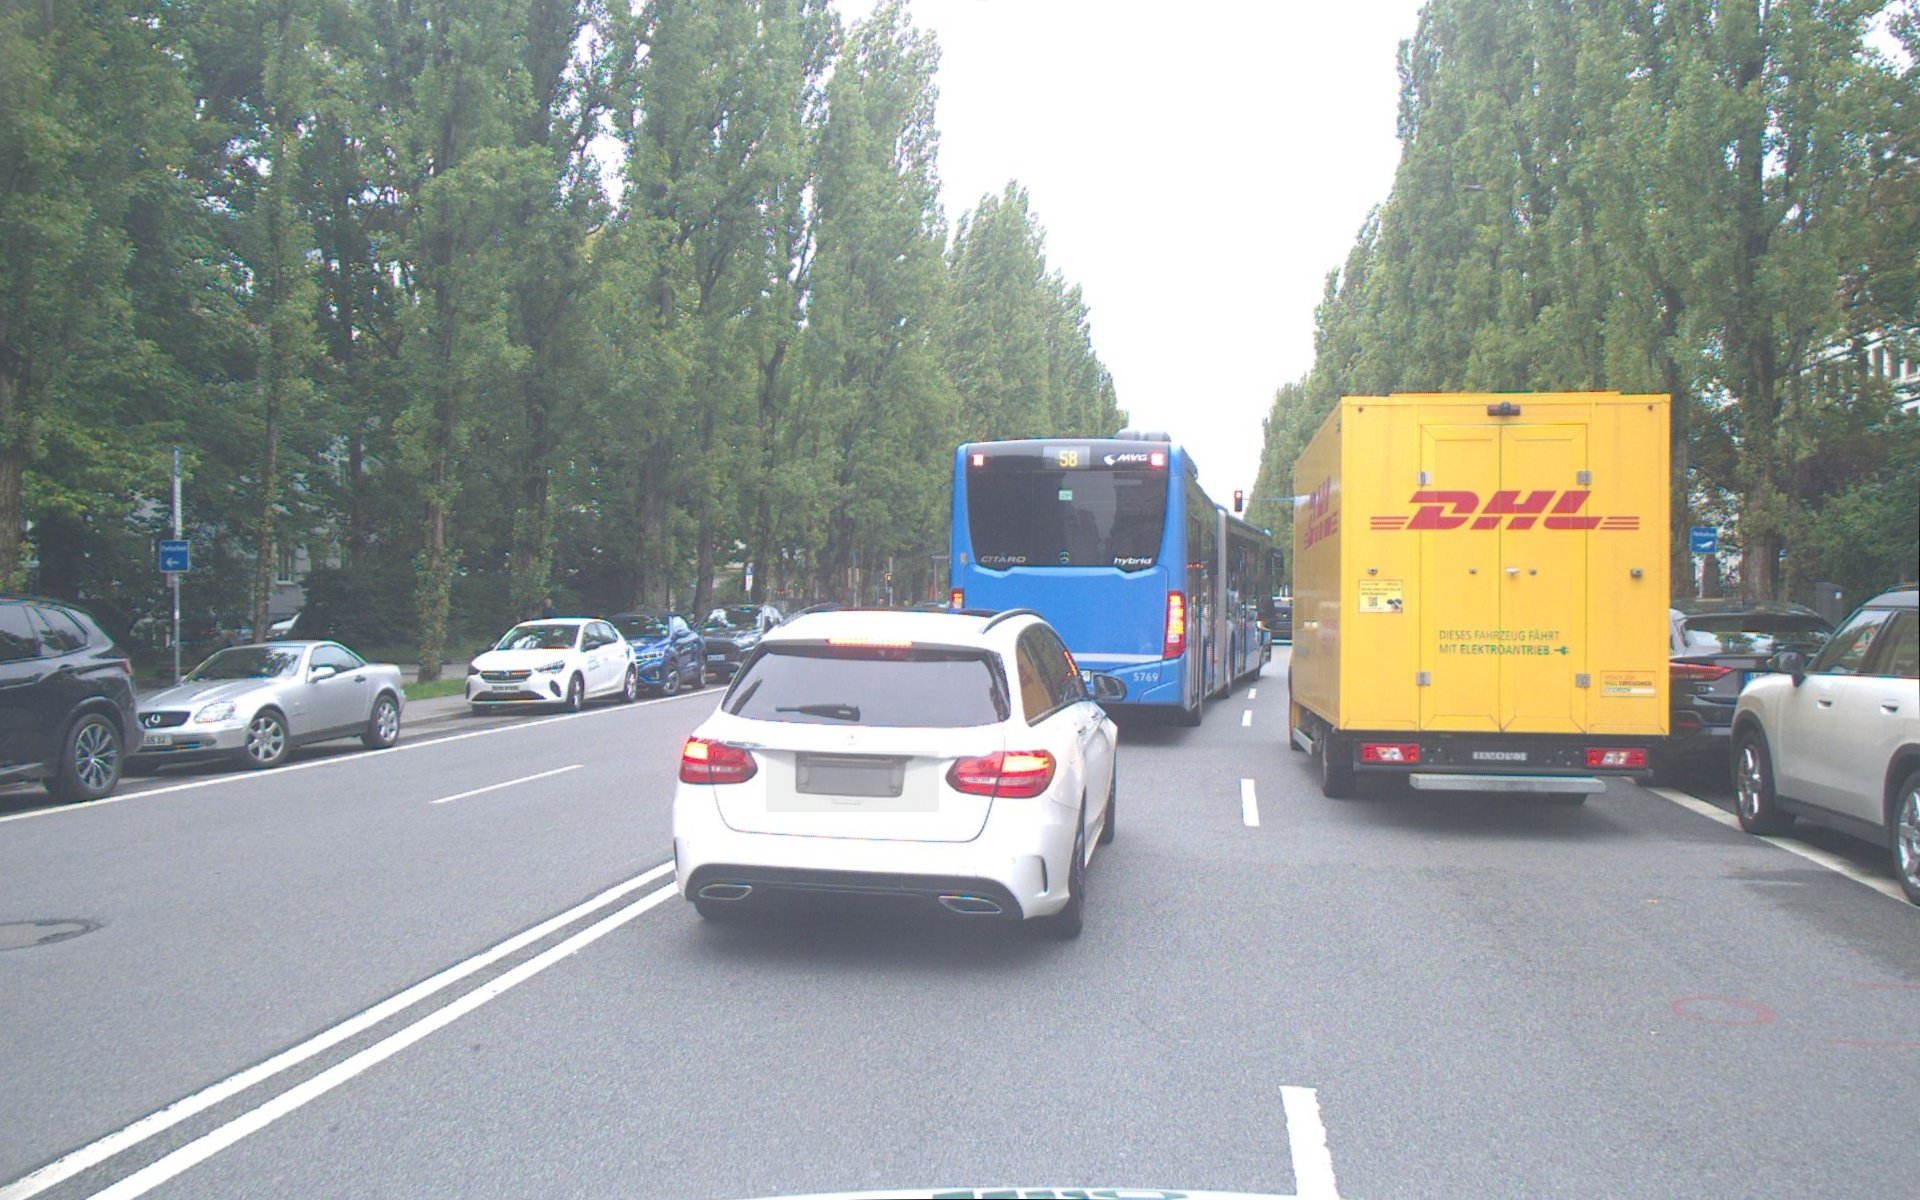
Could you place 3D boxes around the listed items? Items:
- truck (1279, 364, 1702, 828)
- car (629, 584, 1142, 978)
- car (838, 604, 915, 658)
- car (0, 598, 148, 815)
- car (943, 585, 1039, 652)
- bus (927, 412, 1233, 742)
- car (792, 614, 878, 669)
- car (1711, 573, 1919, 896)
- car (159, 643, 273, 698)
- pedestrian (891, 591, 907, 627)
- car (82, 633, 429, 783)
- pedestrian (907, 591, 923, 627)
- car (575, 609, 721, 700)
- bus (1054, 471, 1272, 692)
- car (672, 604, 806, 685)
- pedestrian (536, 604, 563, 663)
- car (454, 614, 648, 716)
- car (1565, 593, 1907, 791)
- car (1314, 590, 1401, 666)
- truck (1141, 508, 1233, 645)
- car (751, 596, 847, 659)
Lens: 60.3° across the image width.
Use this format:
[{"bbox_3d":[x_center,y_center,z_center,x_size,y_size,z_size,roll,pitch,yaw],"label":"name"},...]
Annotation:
[{"bbox_3d":[4.110,-0.019,14.324,2.278,2.949,7.339,0,0,8],"label":"truck"},{"bbox_3d":[-0.059,0.686,8.658,1.787,1.480,4.586,0,0,9],"label":"car"},{"bbox_3d":[-2.561,0.943,51.653,1.672,1.575,4.003,-1,0,8],"label":"car"},{"bbox_3d":[-8.507,0.890,12.543,1.840,1.687,4.722,-3,0,8],"label":"car"},{"bbox_3d":[1.055,0.563,52.101,2.136,1.925,5.700,-2,0,9],"label":"car"},{"bbox_3d":[1.917,-0.241,21.149,2.794,3.270,9.067,0,0,11],"label":"bus"},{"bbox_3d":[-3.521,1.155,47.230,1.639,1.438,4.003,-1,0,8],"label":"car"},{"bbox_3d":[5.852,0.693,9.430,1.743,1.609,4.150,1,0,8],"label":"car"},{"bbox_3d":[-25.876,2.424,57.677,1.952,1.713,4.267,-1,0,1],"label":"car"},{"bbox_3d":[-3.536,0.519,96.434,0.812,2.049,0.778,-1,0,7],"label":"pedestrian"},{"bbox_3d":[-7.567,1.108,18.226,1.546,1.327,4.032,-2,0,9],"label":"car"},{"bbox_3d":[-2.633,0.517,96.544,0.812,2.049,0.778,-1,0,7],"label":"pedestrian"},{"bbox_3d":[-5.833,0.972,31.410,1.706,1.545,4.120,-2,0,3],"label":"car"},{"bbox_3d":[4.000,-0.276,30.190,2.810,3.362,9.797,0,0,14],"label":"bus"},{"bbox_3d":[-4.810,0.942,36.621,1.753,1.575,4.342,-4,-1,8],"label":"car"},{"bbox_3d":[-12.550,1.024,50.558,0.587,1.769,0.641,-1,0,9],"label":"pedestrian"},{"bbox_3d":[-6.553,1.002,26.950,1.649,1.437,4.008,-2,0,8],"label":"car"},{"bbox_3d":[6.793,0.712,14.986,1.688,1.521,4.327,0,0,10],"label":"car"},{"bbox_3d":[9.212,0.609,38.561,1.641,1.624,4.090,1,0,9],"label":"car"},{"bbox_3d":[7.300,-0.699,53.865,2.658,4.035,9.225,-1,0,7],"label":"truck"},{"bbox_3d":[-4.067,0.680,42.263,1.507,1.458,3.872,-4,-1,8],"label":"car"}]
